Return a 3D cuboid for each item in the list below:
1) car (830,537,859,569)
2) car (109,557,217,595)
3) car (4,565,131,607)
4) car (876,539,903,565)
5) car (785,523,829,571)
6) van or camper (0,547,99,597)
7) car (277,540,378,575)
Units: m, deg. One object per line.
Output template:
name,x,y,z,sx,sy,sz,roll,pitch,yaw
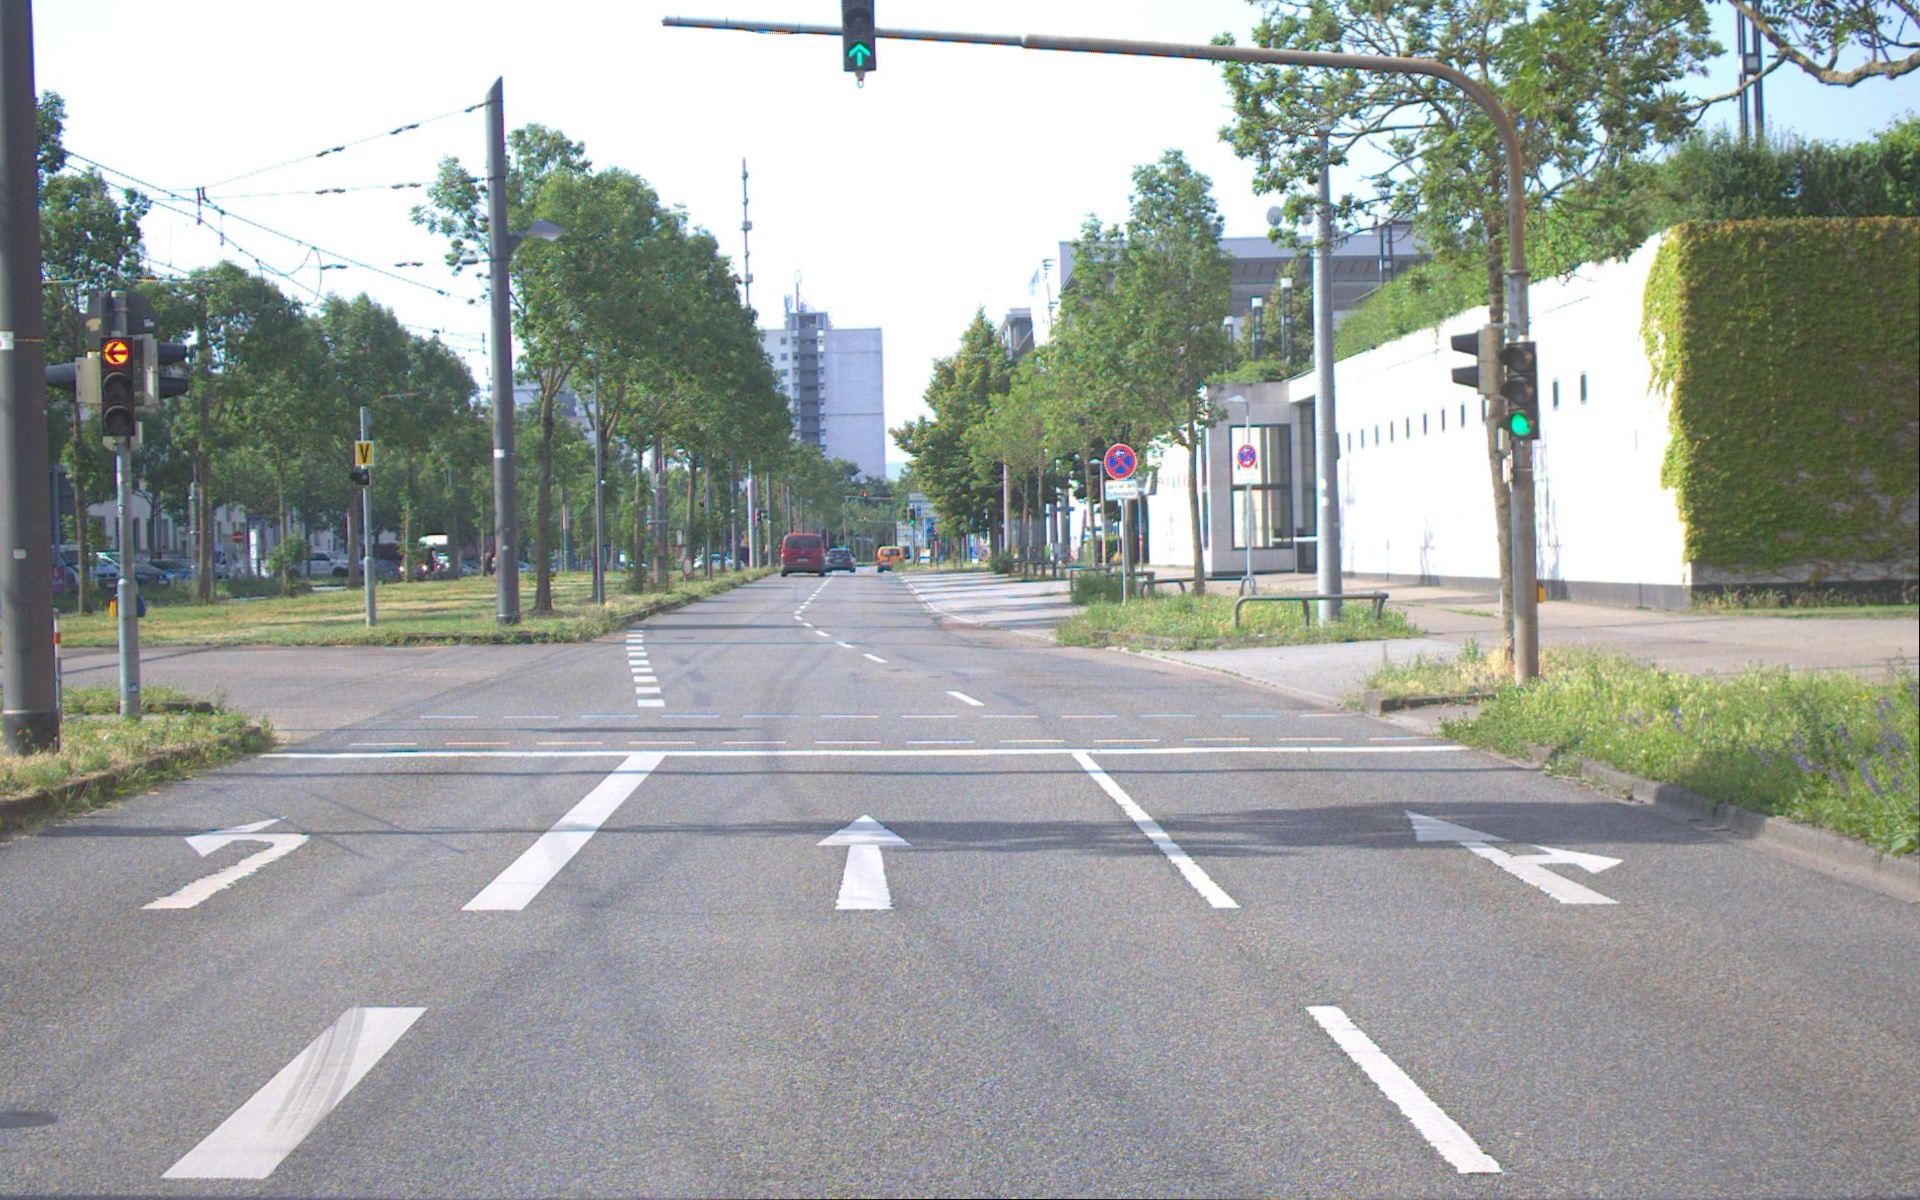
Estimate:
car,-7.407,-3.003,221.028,1.748,2.007,3.216,1,0,-1
car,-31.519,-0.941,135.981,3.992,1.412,1.575,1,0,24
car,-31.912,-0.507,122.896,4.471,1.414,1.971,1,0,36
car,-4.642,-3.168,226.357,1.748,1.645,3.216,1,0,-1
car,-6.688,-2.312,150.282,1.748,2.007,3.216,1,0,-1
van or camper,-31.863,-0.975,117.197,4.843,1.618,1.999,1,0,31
car,-33.456,-2.228,181.798,5.320,1.732,1.996,1,0,33
